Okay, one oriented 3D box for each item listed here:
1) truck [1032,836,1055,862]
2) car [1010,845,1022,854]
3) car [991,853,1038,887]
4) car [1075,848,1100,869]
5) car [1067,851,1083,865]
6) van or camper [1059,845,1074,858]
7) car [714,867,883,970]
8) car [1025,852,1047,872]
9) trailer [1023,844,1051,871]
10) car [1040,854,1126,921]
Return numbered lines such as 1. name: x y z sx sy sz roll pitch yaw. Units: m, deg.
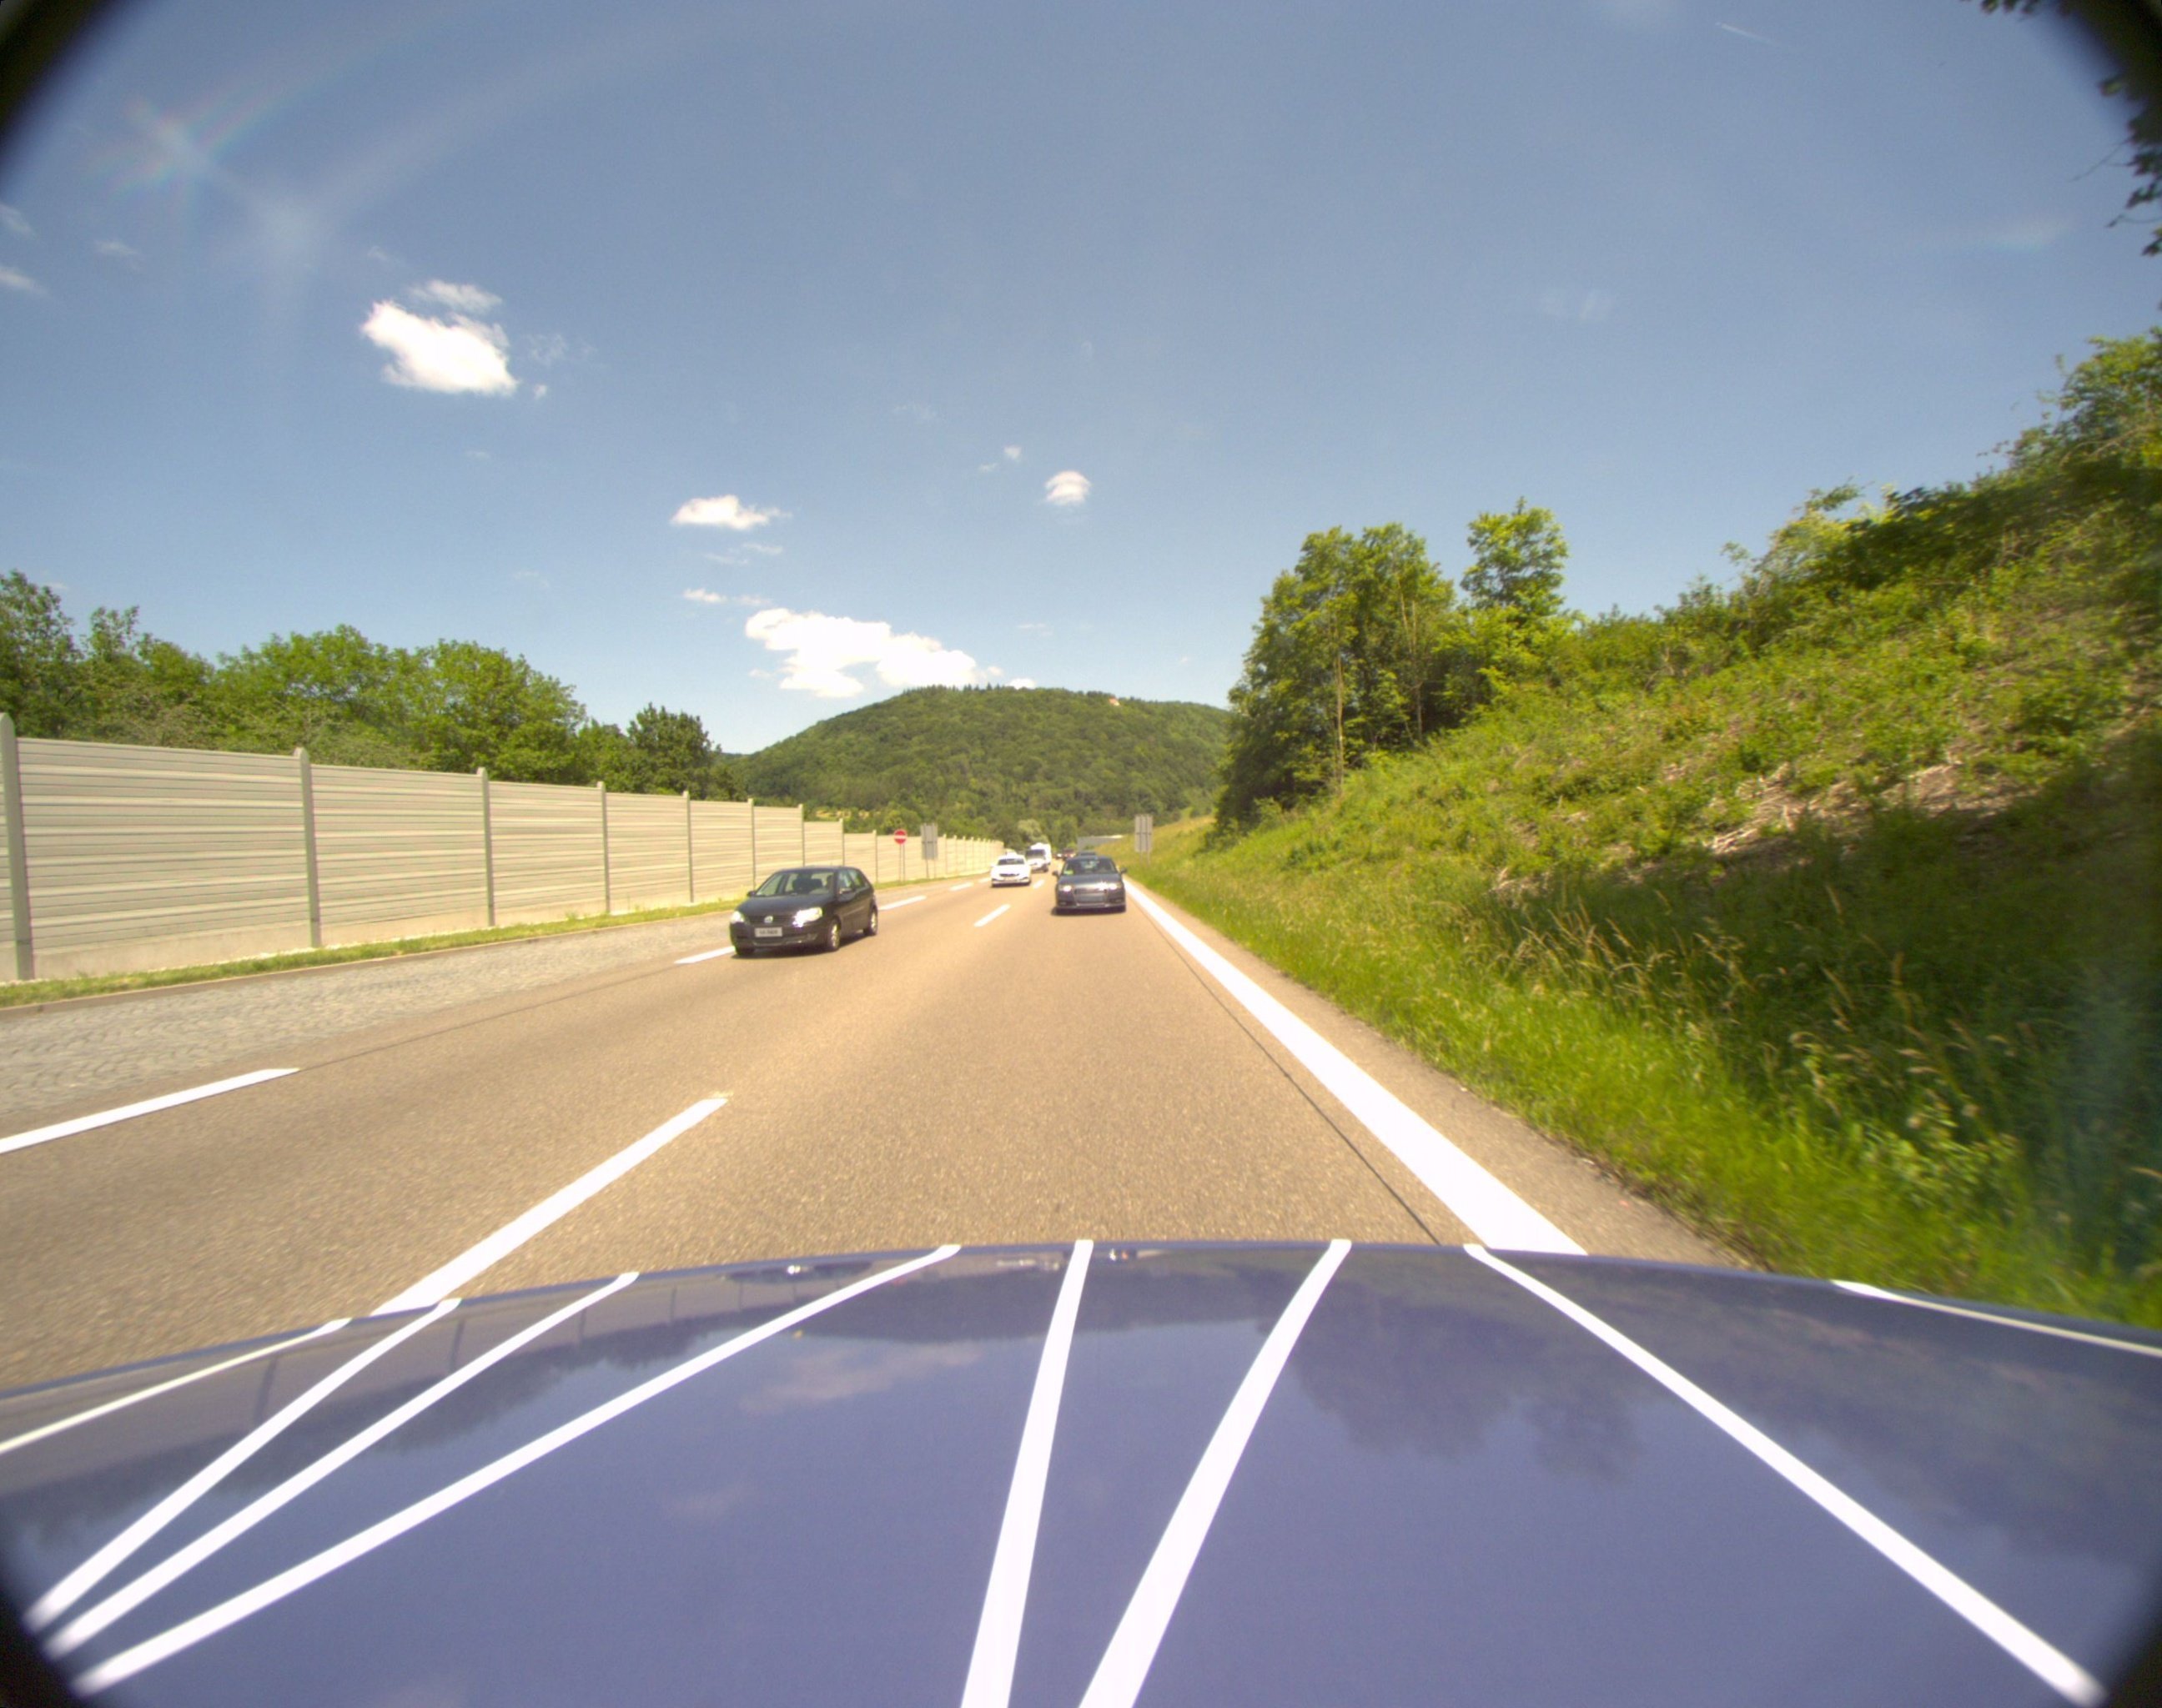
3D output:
1. truck: -5.037 -0.733 100.627 2.603 3.090 6.855 -6 1 -3
2. car: -16.035 -1.144 186.896 2.001 2.002 3.993 -4 1 -20
3. car: -3.156 0.736 36.825 1.907 1.422 3.721 -3 1 -1
4. car: 0.487 0.301 54.602 1.696 1.422 3.463 -3 1 1
5. car: -0.595 0.379 76.186 1.286 1.305 3.453 -4 1 3
6. van or camper: -2.157 -0.375 112.415 1.818 1.856 3.611 -4 1 -6
7. car: -4.901 1.037 13.774 1.696 1.414 3.837 -3 1 -2
8. car: -3.323 0.587 56.382 1.489 1.375 3.737 -2 1 -1
9. trailer: -3.453 0.225 60.218 1.999 1.958 3.999 -3 1 -2
10. car: 0.163 0.777 19.421 1.754 1.382 4.056 -3 0 5
